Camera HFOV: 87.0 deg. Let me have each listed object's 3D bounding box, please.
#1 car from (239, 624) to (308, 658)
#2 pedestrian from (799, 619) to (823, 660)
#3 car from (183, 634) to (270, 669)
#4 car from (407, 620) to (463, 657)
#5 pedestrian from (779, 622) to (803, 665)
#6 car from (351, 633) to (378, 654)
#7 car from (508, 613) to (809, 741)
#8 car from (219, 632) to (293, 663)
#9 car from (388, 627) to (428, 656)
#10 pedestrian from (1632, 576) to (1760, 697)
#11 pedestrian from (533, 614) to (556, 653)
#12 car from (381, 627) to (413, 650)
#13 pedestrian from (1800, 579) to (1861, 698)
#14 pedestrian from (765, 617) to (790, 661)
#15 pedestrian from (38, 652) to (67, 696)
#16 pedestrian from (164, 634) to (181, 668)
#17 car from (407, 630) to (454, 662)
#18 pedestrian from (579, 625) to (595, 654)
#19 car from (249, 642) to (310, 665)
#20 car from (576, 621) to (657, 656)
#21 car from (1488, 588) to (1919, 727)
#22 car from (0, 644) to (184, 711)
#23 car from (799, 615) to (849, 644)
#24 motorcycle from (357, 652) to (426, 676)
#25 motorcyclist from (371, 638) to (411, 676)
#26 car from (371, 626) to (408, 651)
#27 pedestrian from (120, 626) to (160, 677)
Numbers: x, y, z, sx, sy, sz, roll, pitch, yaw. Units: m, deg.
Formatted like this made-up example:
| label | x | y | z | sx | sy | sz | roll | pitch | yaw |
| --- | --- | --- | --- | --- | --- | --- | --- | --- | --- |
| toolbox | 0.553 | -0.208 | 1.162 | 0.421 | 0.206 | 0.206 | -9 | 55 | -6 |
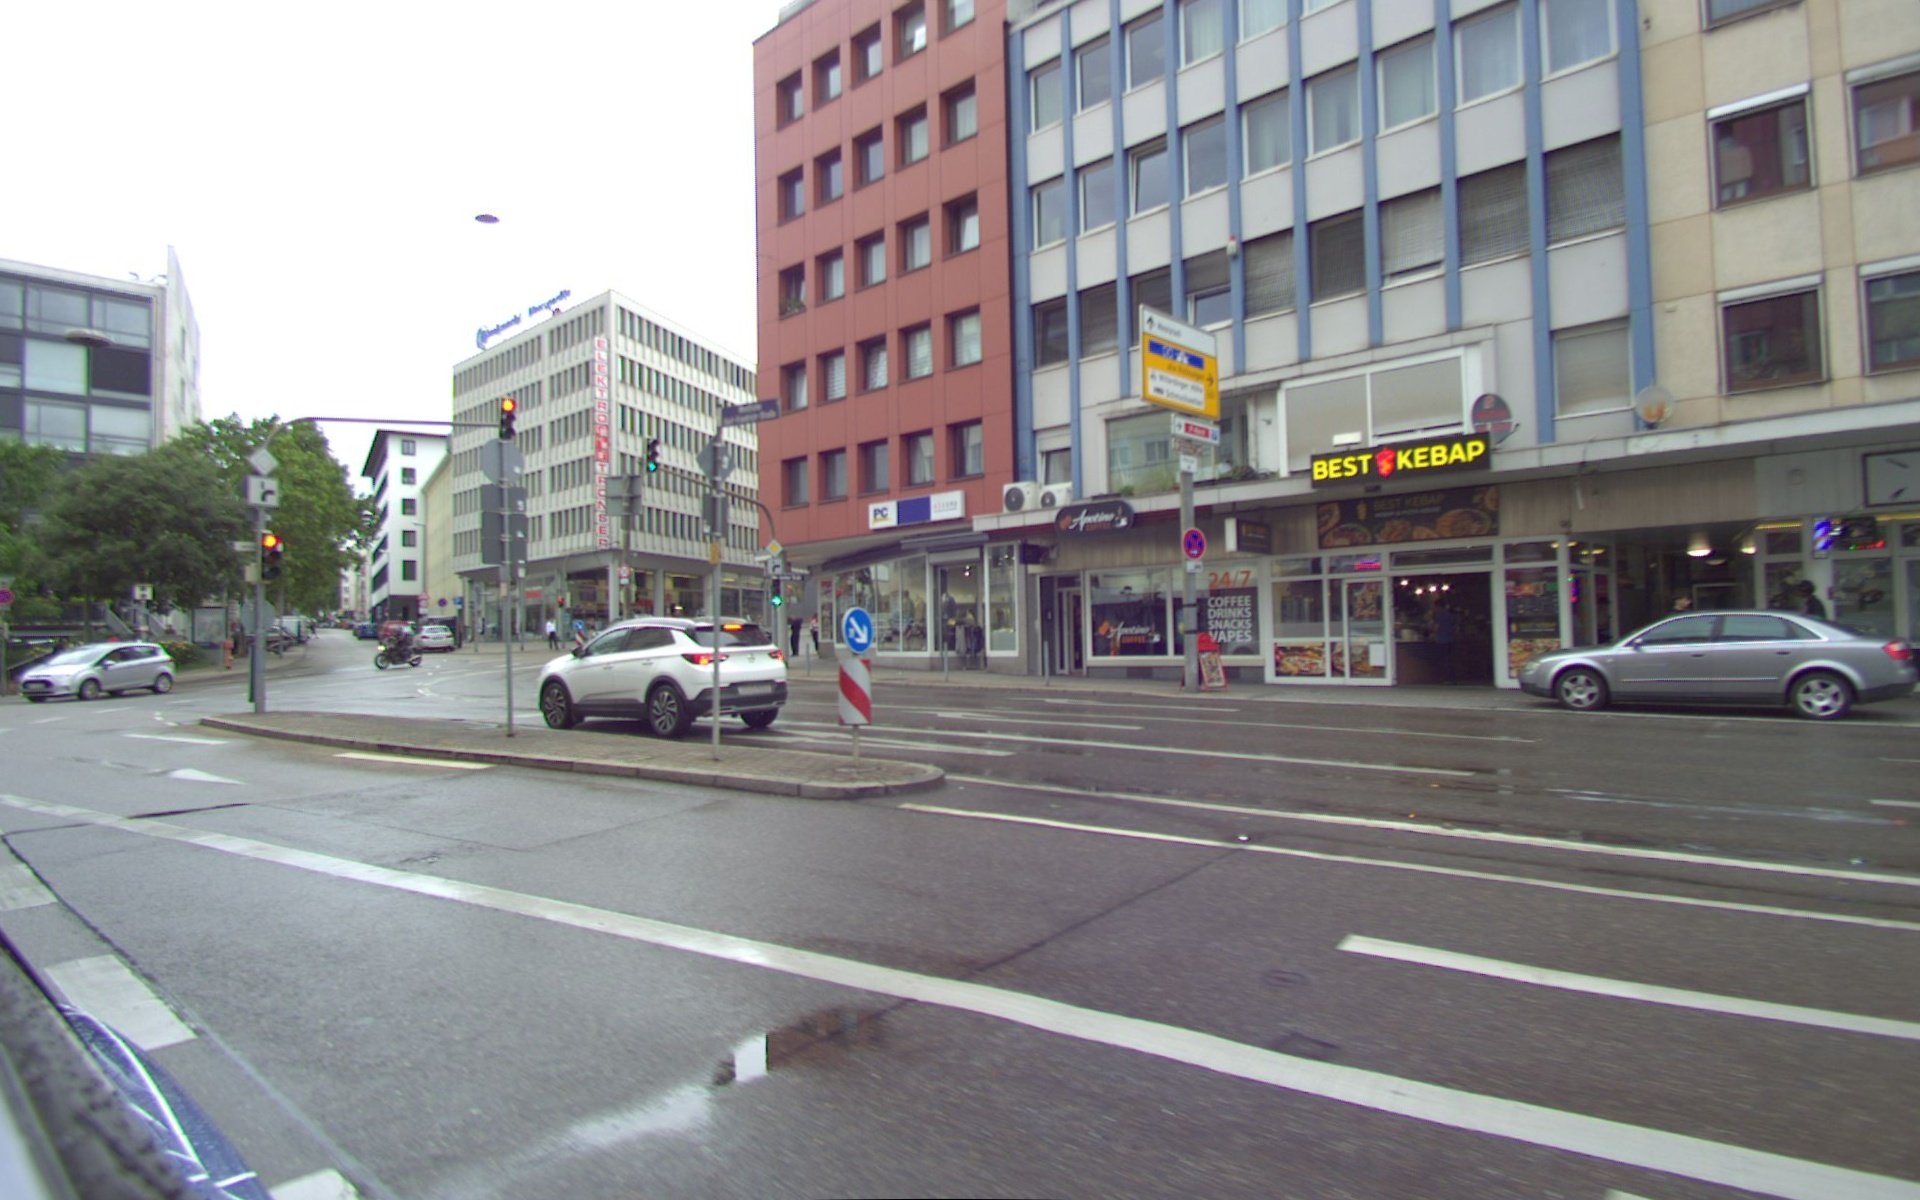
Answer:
| label | x | y | z | sx | sy | sz | roll | pitch | yaw |
| --- | --- | --- | --- | --- | --- | --- | --- | --- | --- |
| car | -51.123 | 3.017 | 75.425 | 3.771 | 2.282 | 1.991 | -3 | 0 | -18 |
| pedestrian | -6.242 | 1.654 | 42.482 | 0.688 | 1.642 | 0.730 | -3 | -1 | 15 |
| car | -38.472 | 2.667 | 53.184 | 3.486 | 1.571 | 1.745 | -3 | 0 | -29 |
| car | -32.577 | 2.399 | 62.754 | 2.065 | 2.106 | 4.621 | -2 | -1 | -40 |
| pedestrian | -7.117 | 1.825 | 42.713 | 0.726 | 1.761 | 0.697 | -3 | -1 | 12 |
| car | -57.331 | 4.215 | 97.450 | 1.993 | 1.855 | 4.055 | -3 | -1 | -33 |
| car | -4.535 | 1.109 | 14.954 | 4.421 | 1.563 | 1.975 | -4 | -1 | 37 |
| car | -42.077 | 2.819 | 60.592 | 3.487 | 1.571 | 1.745 | -3 | 0 | -32 |
| car | -38.057 | 2.871 | 69.701 | 1.993 | 1.763 | 4.626 | -3 | -1 | -33 |
| pedestrian | 11.129 | 0.554 | 15.306 | 1.418 | 1.731 | 0.942 | -4 | -1 | 40 |
| pedestrian | -22.531 | 1.814 | 54.872 | 0.978 | 2.029 | 0.950 | -1 | -2 | -34 |
| car | -50.919 | 3.468 | 91.513 | 1.994 | 1.916 | 4.438 | -2 | -1 | -35 |
| pedestrian | 12.860 | 0.565 | 14.946 | 0.584 | 1.721 | 0.441 | -4 | -1 | 42 |
| pedestrian | -7.534 | 1.597 | 41.777 | 0.726 | 1.761 | 0.740 | -3 | -1 | 12 |
| pedestrian | -39.250 | 3.194 | 43.775 | 0.591 | 1.827 | 0.780 | -5 | -2 | 33 |
| pedestrian | -42.941 | 2.794 | 55.158 | 0.583 | 1.827 | 0.706 | -3 | -2 | -32 |
| car | -30.128 | 2.601 | 57.515 | 1.969 | 1.643 | 4.627 | -3 | -1 | -33 |
| pedestrian | -21.313 | 2.265 | 57.804 | 0.703 | 1.635 | 0.726 | -1 | -2 | -30 |
| car | -43.079 | 3.376 | 64.139 | 2.996 | 1.191 | 2.058 | -3 | 0 | -29 |
| car | -18.311 | 2.026 | 54.148 | 1.986 | 1.696 | 3.972 | -2 | -1 | 21 |
| car | 10.272 | 0.751 | 14.046 | 4.879 | 1.620 | 1.845 | -3 | -1 | 43 |
| car | -25.027 | 2.170 | 29.212 | 1.973 | 1.596 | 4.100 | -3 | -1 | 2 |
| car | -8.279 | 1.775 | 61.852 | 1.976 | 1.563 | 4.369 | -3 | -1 | 6 |
| motorcycle | -22.947 | 2.557 | 40.895 | 0.710 | 0.848 | 2.370 | -2 | -1 | 32 |
| motorcyclist | -22.989 | 2.290 | 40.886 | 0.908 | 1.453 | 1.102 | -2 | -2 | 31 |
| car | -42.290 | 2.883 | 74.915 | 1.902 | 1.684 | 4.456 | -2 | -1 | -35 |
| pedestrian | -30.386 | 1.908 | 37.502 | 0.786 | 1.762 | 0.775 | -5 | 2 | 33 |
